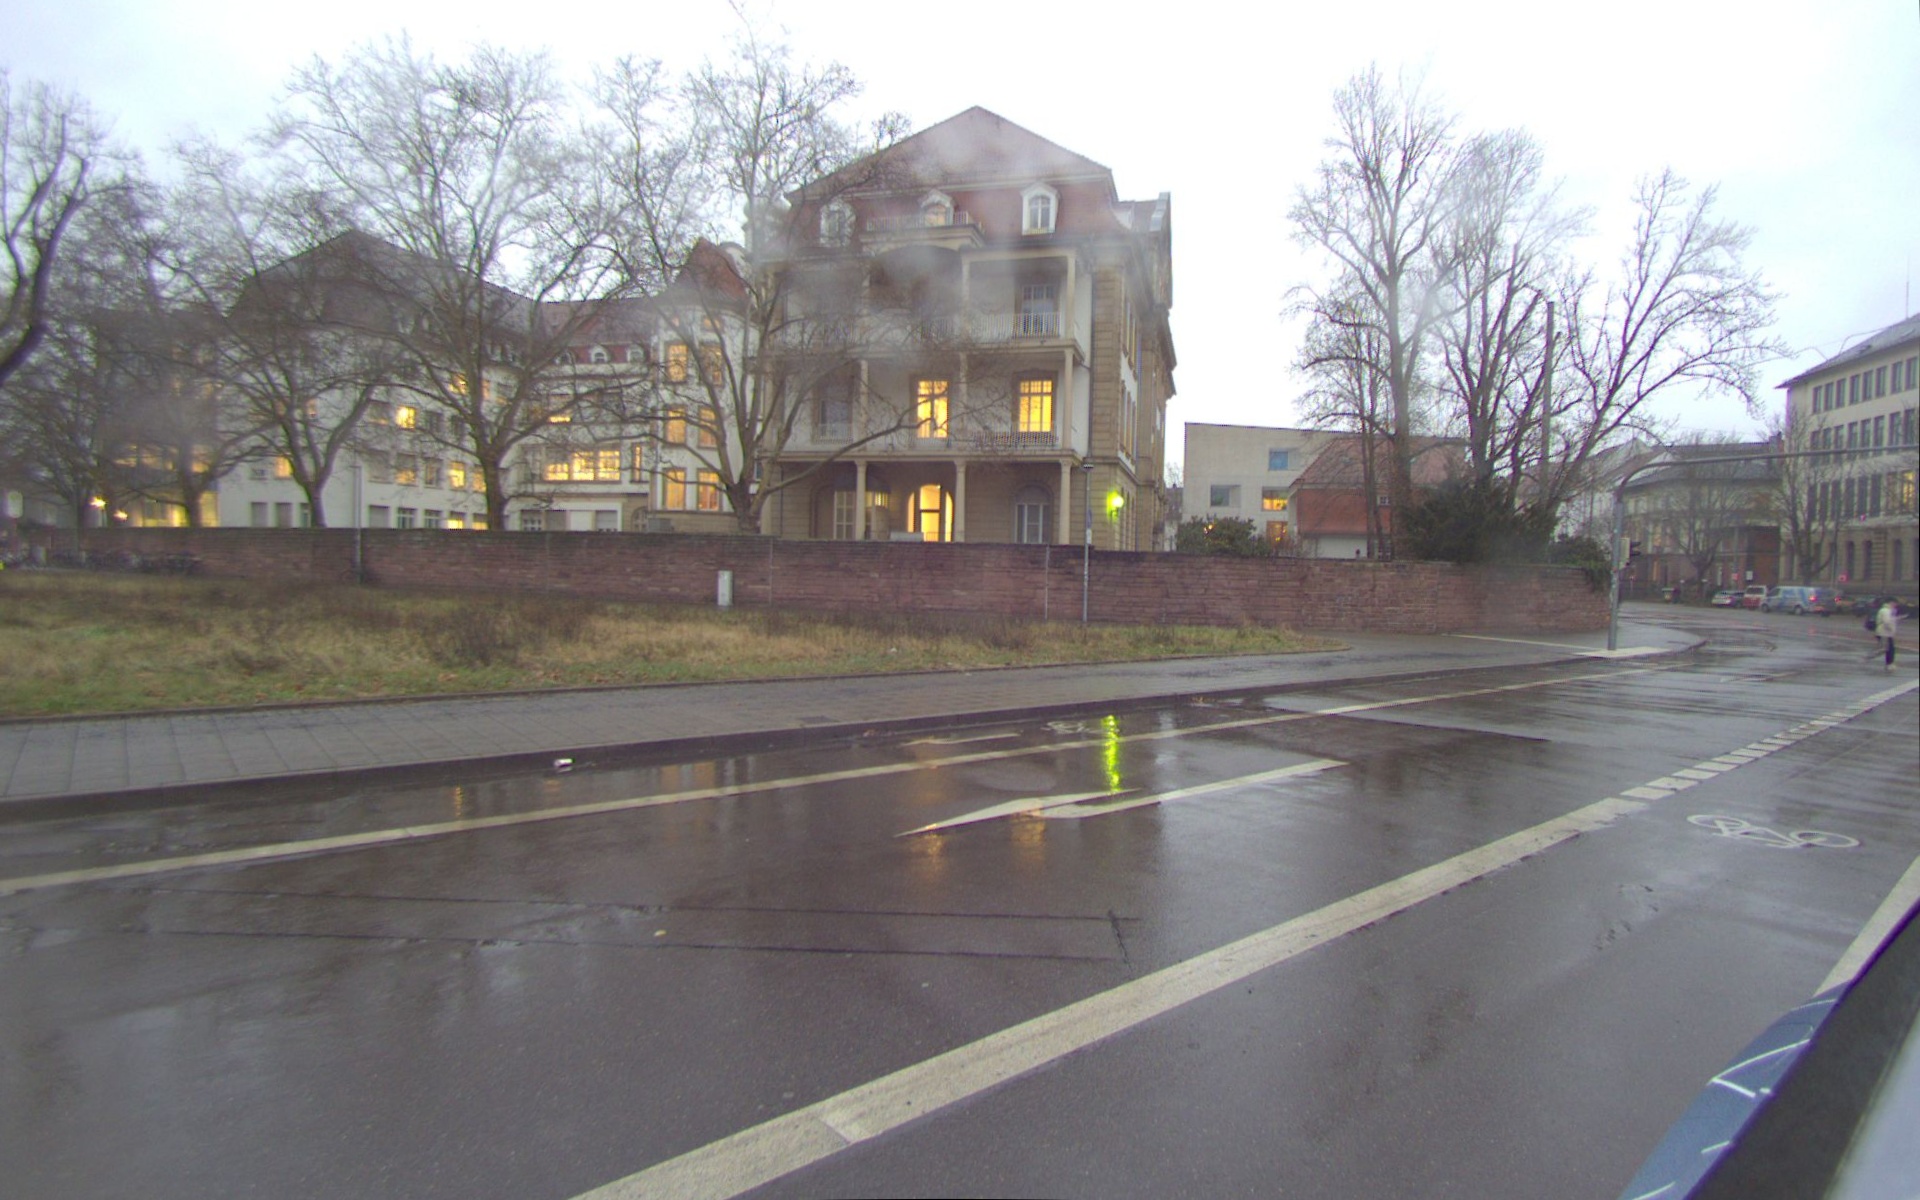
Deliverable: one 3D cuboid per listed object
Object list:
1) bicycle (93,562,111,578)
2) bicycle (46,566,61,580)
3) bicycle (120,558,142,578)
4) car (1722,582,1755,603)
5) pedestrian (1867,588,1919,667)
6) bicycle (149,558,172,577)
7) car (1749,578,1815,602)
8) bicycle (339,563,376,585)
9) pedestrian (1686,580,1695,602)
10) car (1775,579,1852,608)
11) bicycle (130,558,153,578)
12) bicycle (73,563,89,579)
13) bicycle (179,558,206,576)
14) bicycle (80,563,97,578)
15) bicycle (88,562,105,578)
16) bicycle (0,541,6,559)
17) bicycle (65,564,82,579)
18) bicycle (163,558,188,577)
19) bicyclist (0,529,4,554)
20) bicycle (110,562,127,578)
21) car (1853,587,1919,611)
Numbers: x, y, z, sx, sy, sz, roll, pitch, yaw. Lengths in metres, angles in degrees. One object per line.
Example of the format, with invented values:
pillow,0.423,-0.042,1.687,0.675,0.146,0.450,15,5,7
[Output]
bicycle,-43.130,-1.492,50.894,1.522,0.796,0.389,0,0,38
bicycle,-51.608,-1.543,57.591,1.522,0.796,0.389,0,0,38
bicycle,-39.908,-1.536,48.719,1.519,0.928,0.389,0,0,33
car,66.484,-0.647,86.379,1.992,1.690,3.940,0,1,42
pedestrian,21.481,0.610,23.274,0.663,1.744,0.797,0,3,-44
bicycle,-37.030,-1.495,46.883,1.480,0.849,0.346,0,0,32
car,64.984,-0.794,80.015,3.916,1.924,2.052,0,0,-13
bicycle,-23.384,-0.986,39.268,1.366,0.835,0.392,0,0,14
pedestrian,68.542,-0.882,94.936,0.537,2.038,0.475,1,2,-35
car,57.856,-0.449,68.712,1.848,1.868,4.000,0,0,0
bicycle,-38.626,-1.504,47.765,1.519,0.869,0.389,0,0,33
bicycle,-46.671,-1.532,53.718,1.522,0.796,0.389,0,0,38
bicycle,-34.210,-1.466,45.108,1.399,0.796,0.355,0,0,26
bicycle,-45.441,-1.529,52.739,1.522,0.796,0.389,0,0,38
bicycle,-44.178,-1.526,51.765,1.522,0.796,0.389,0,0,38
bicycle,-65.327,-3.394,68.686,1.670,1.182,0.603,0,0,37
bicycle,-47.895,-1.535,54.672,1.522,0.796,0.389,0,0,38
bicycle,-35.550,-1.466,45.857,1.519,0.796,0.389,0,0,33
bicyclist,-65.334,-3.965,68.695,0.450,1.662,0.603,0,0,37
bicycle,-41.473,-1.473,49.874,1.599,0.796,0.388,0,0,41
car,61.965,-0.063,66.997,3.927,1.570,1.800,0,0,4
